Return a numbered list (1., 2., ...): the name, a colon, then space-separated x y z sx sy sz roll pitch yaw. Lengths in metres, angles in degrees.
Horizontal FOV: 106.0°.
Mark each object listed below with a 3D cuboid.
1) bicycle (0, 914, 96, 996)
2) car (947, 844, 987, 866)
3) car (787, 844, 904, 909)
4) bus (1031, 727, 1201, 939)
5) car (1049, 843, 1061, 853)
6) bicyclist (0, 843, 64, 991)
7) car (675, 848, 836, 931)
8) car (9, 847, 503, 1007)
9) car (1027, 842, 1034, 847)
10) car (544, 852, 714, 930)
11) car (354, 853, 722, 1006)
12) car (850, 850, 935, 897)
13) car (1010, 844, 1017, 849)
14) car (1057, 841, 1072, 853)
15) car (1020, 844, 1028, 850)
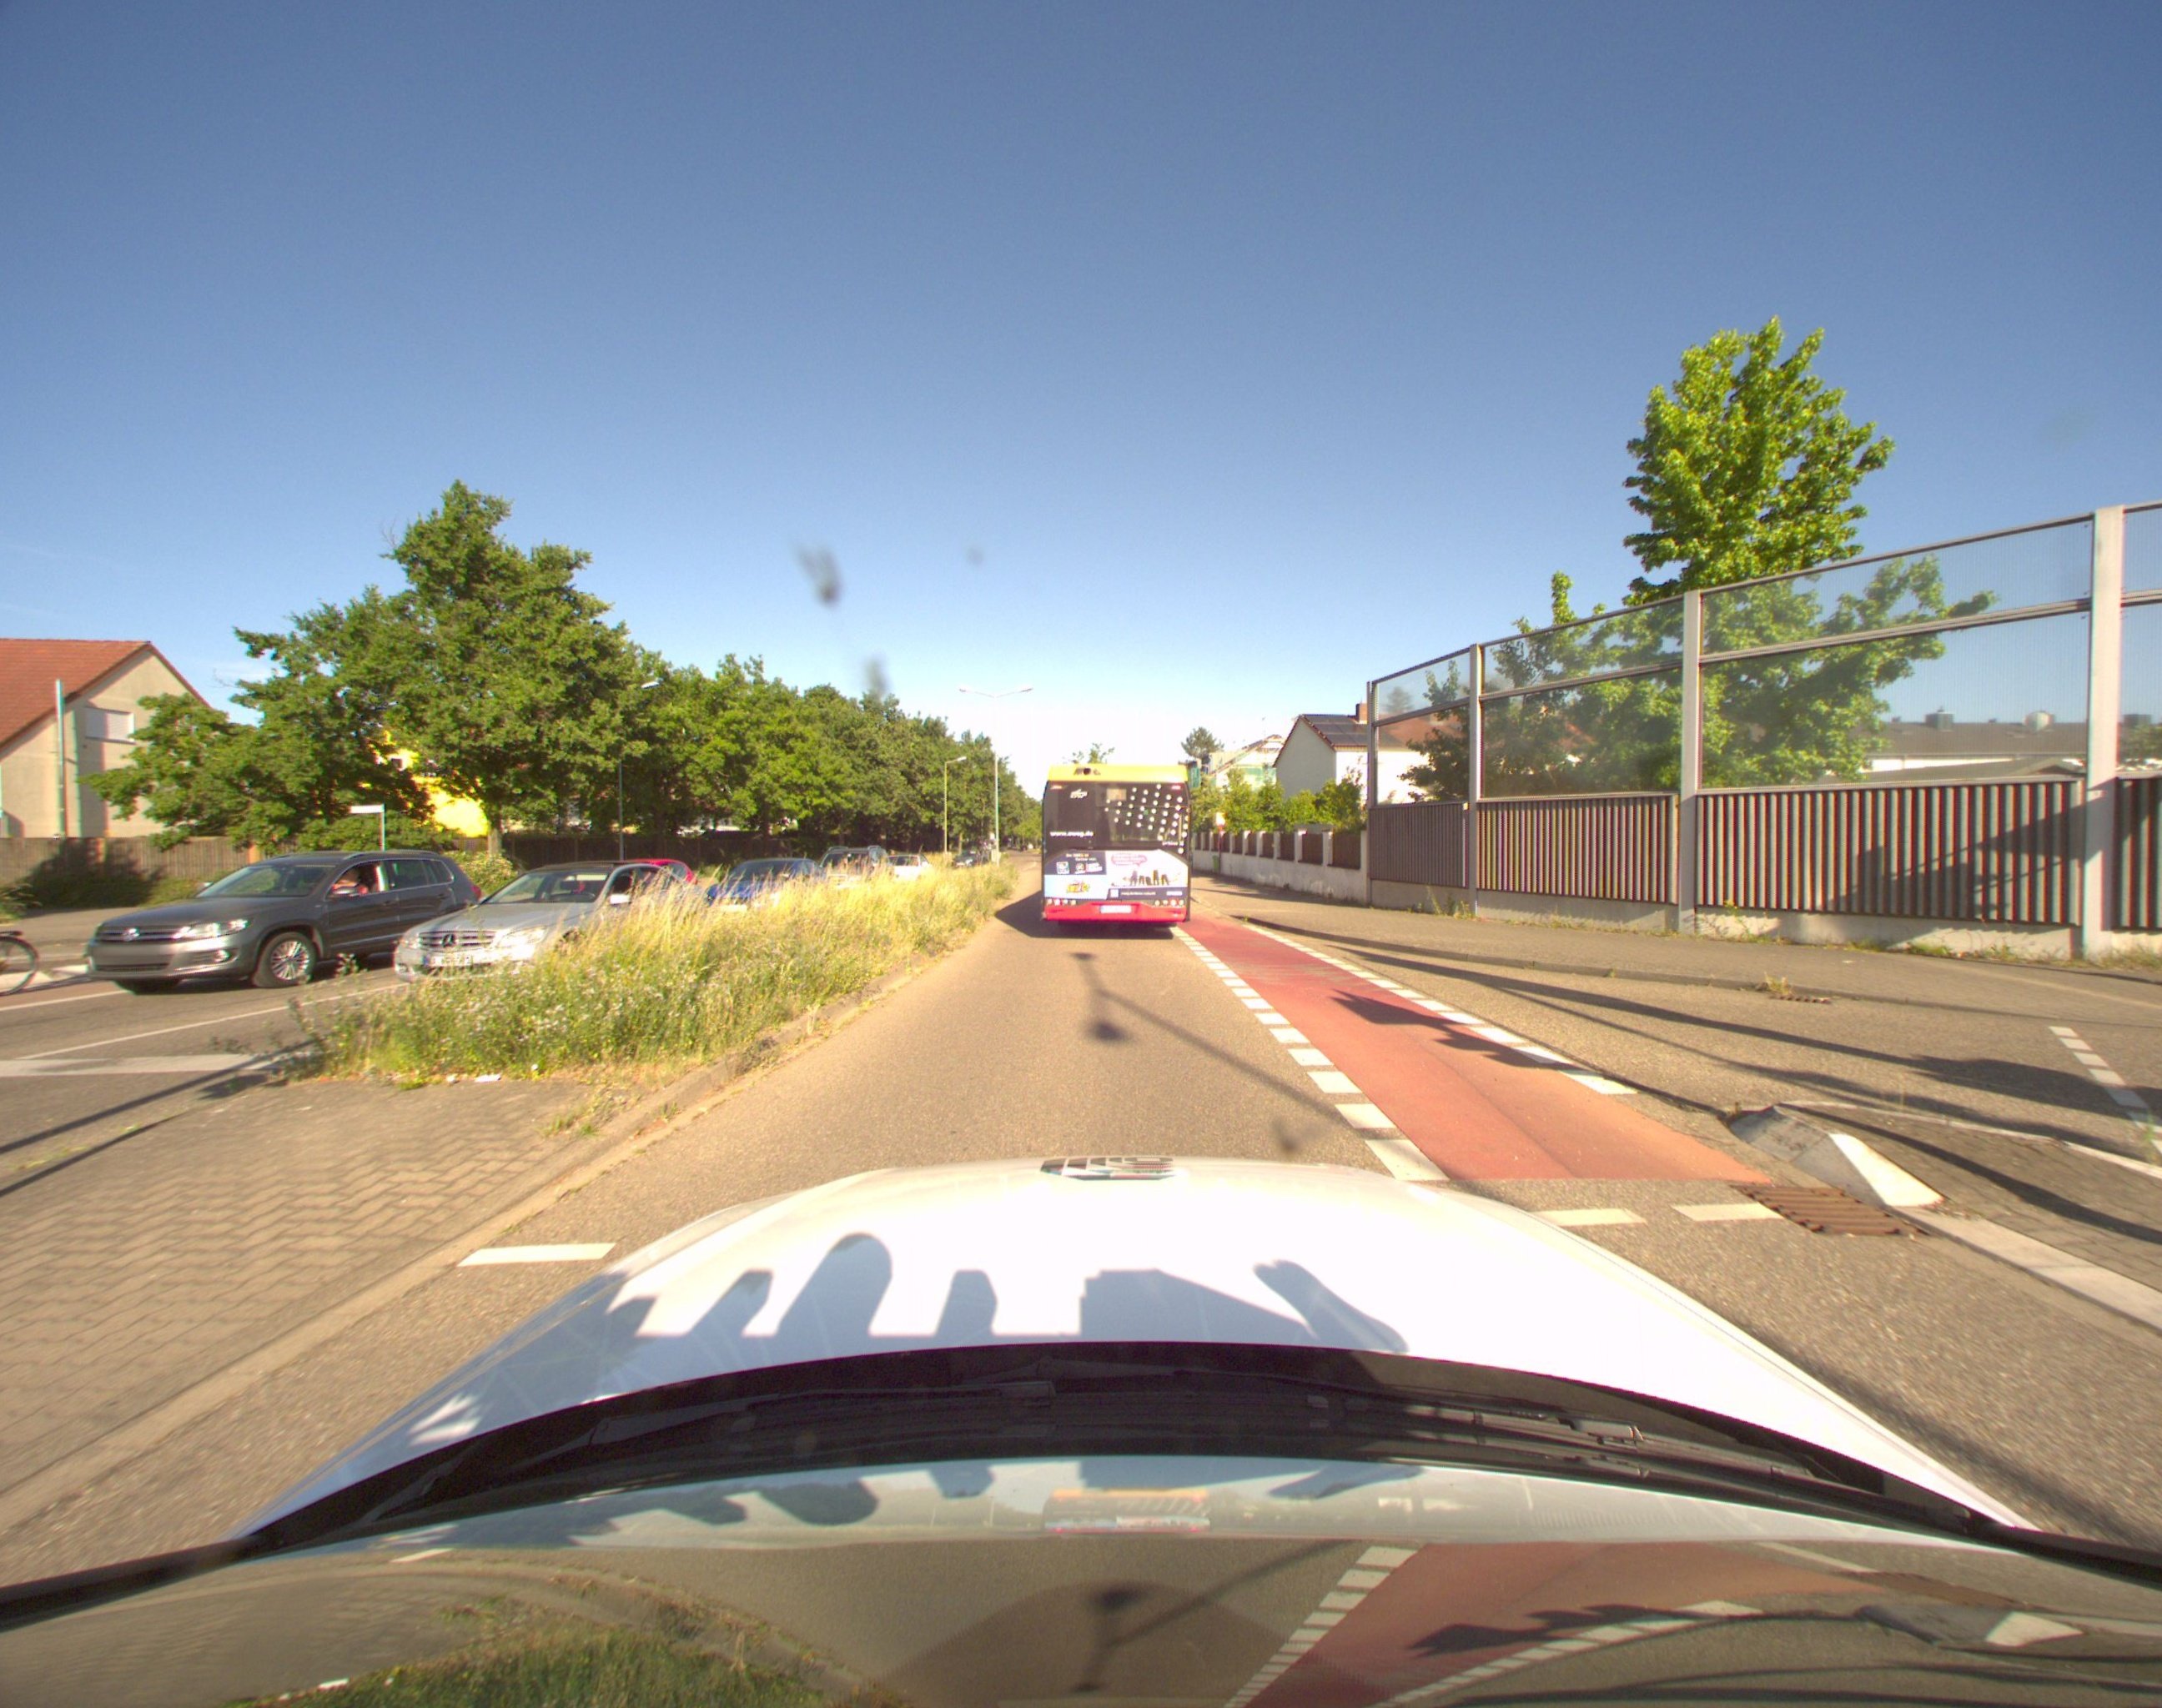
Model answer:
1. bicycle: -12.761 1.210 9.221 0.746 0.847 1.990 -1 1 0
2. car: -8.091 0.025 58.167 1.699 1.430 4.011 -2 1 9
3. car: -6.659 0.559 23.586 1.987 1.616 4.531 -1 1 0
4. bus: 0.765 -0.371 19.753 2.747 3.458 12.402 -1 0 2
5. car: -4.504 -1.083 140.456 1.931 1.742 3.993 0 1 -6
6. bicyclist: -12.768 0.729 9.279 0.742 1.702 1.242 -1 1 0
7. car: -6.710 0.661 17.253 1.740 1.483 3.889 -1 1 1
8. car: -10.526 0.775 11.071 1.986 1.643 4.532 -1 1 1
9. car: -14.638 -2.665 234.906 1.931 1.454 3.991 0 1 -7
10. car: -9.996 0.747 18.356 1.639 1.483 3.714 -1 1 1
11. car: -6.765 0.803 10.917 1.787 1.506 4.532 -1 1 1
12. car: -6.666 0.643 29.349 1.987 1.450 4.400 -1 1 0
13. car: -19.359 -2.050 234.170 1.931 1.454 3.991 0 1 -7
14. car: -2.380 -0.983 118.117 1.933 1.704 3.993 0 1 -6
15. car: -14.545 -1.753 208.750 1.931 1.542 3.993 0 1 -6
